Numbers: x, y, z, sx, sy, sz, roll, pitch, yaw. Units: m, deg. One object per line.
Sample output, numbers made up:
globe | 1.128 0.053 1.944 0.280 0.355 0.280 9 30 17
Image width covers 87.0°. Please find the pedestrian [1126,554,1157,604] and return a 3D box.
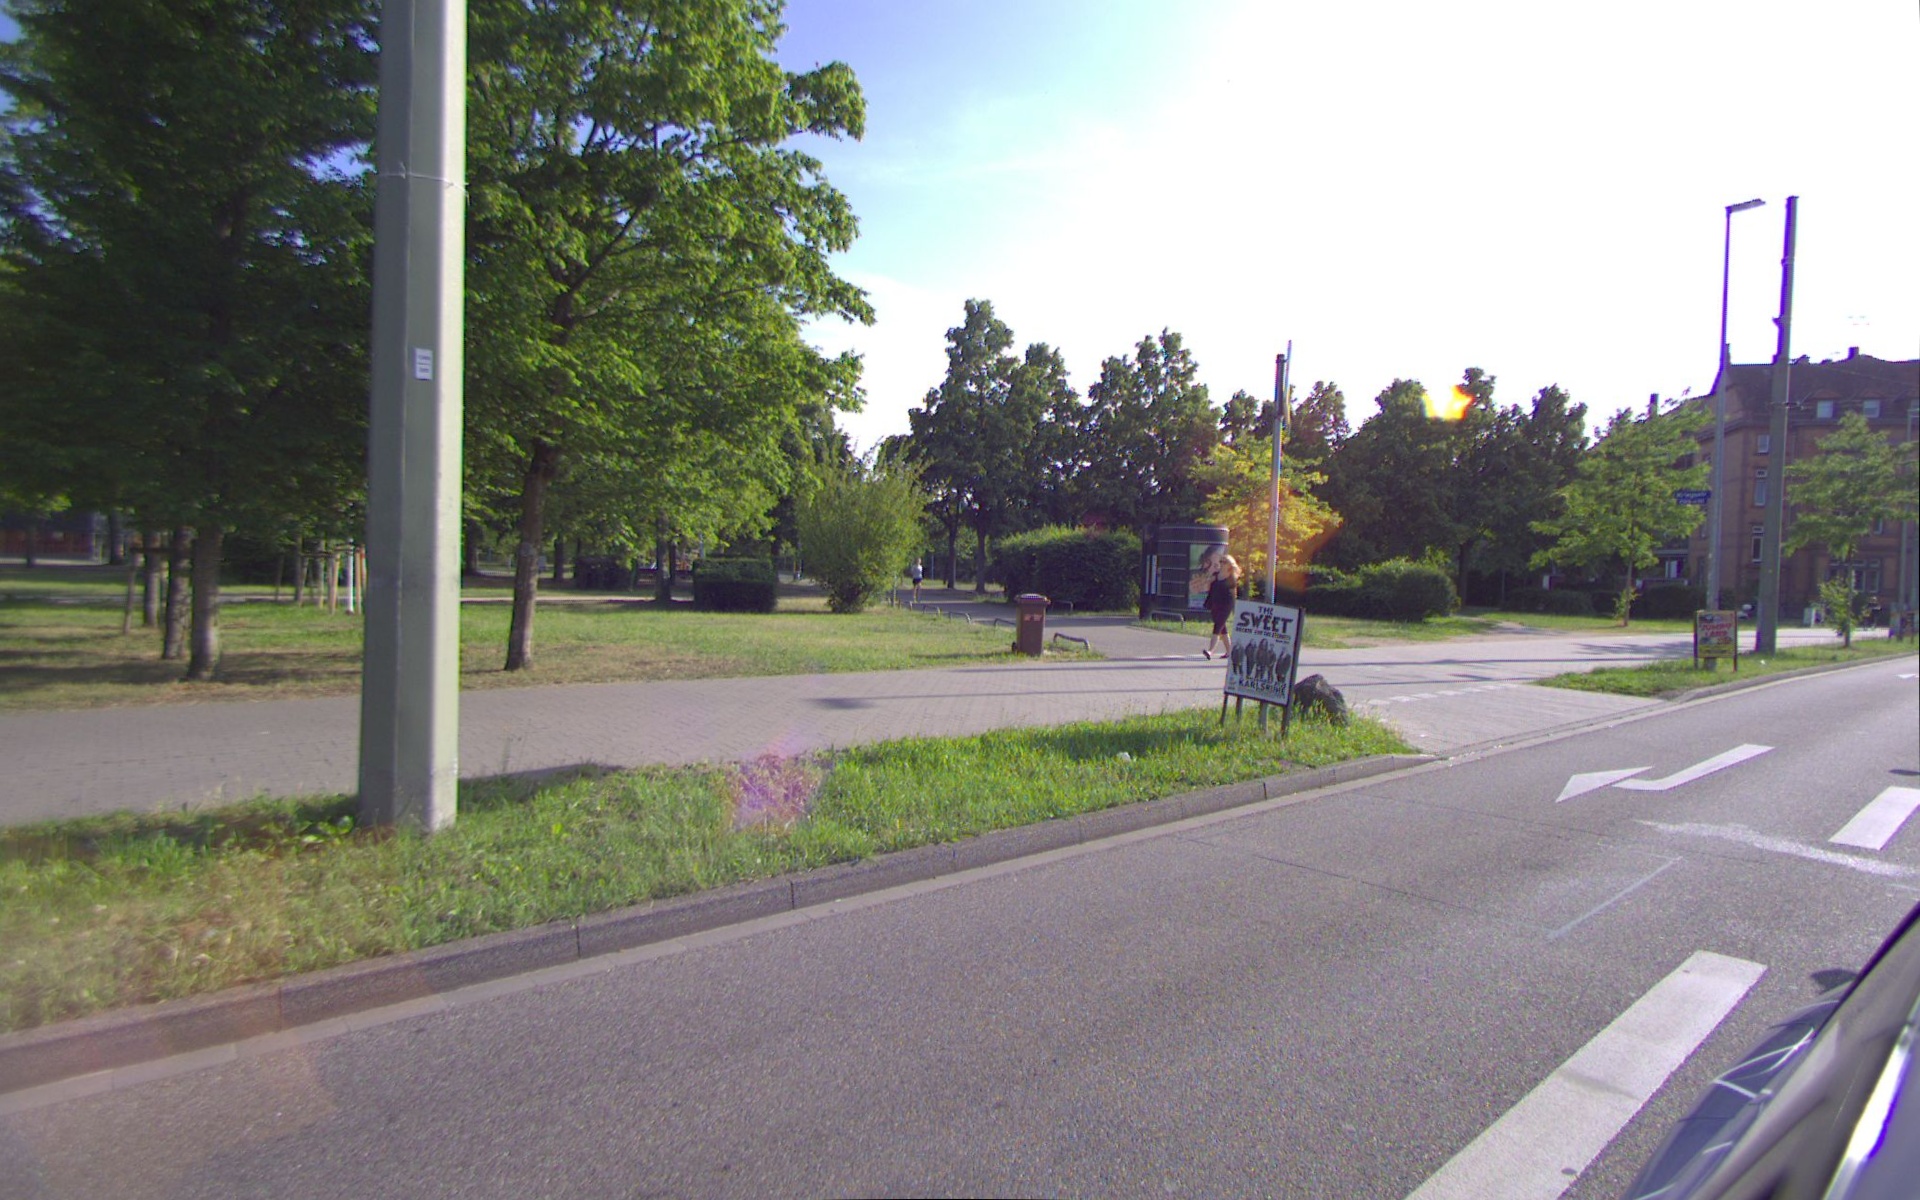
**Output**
pedestrian | 8.039 -0.924 44.854 0.872 2.184 0.914 1 1 -28

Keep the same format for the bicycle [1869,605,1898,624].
bicycle | 46.830 0.737 51.299 2.056 0.929 0.740 0 2 -38

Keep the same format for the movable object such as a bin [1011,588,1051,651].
movable object such as a bin | 1.072 0.286 15.310 0.514 0.915 0.504 2 1 -2

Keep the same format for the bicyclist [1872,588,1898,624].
bicyclist | 46.877 0.305 51.304 1.098 1.795 0.754 1 2 -38

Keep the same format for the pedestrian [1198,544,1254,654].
pedestrian | 4.285 -0.028 16.315 0.651 1.722 0.558 1 2 -41

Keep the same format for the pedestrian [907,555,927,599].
pedestrian | -1.652 -0.894 38.745 0.609 1.671 0.664 1 1 -16
